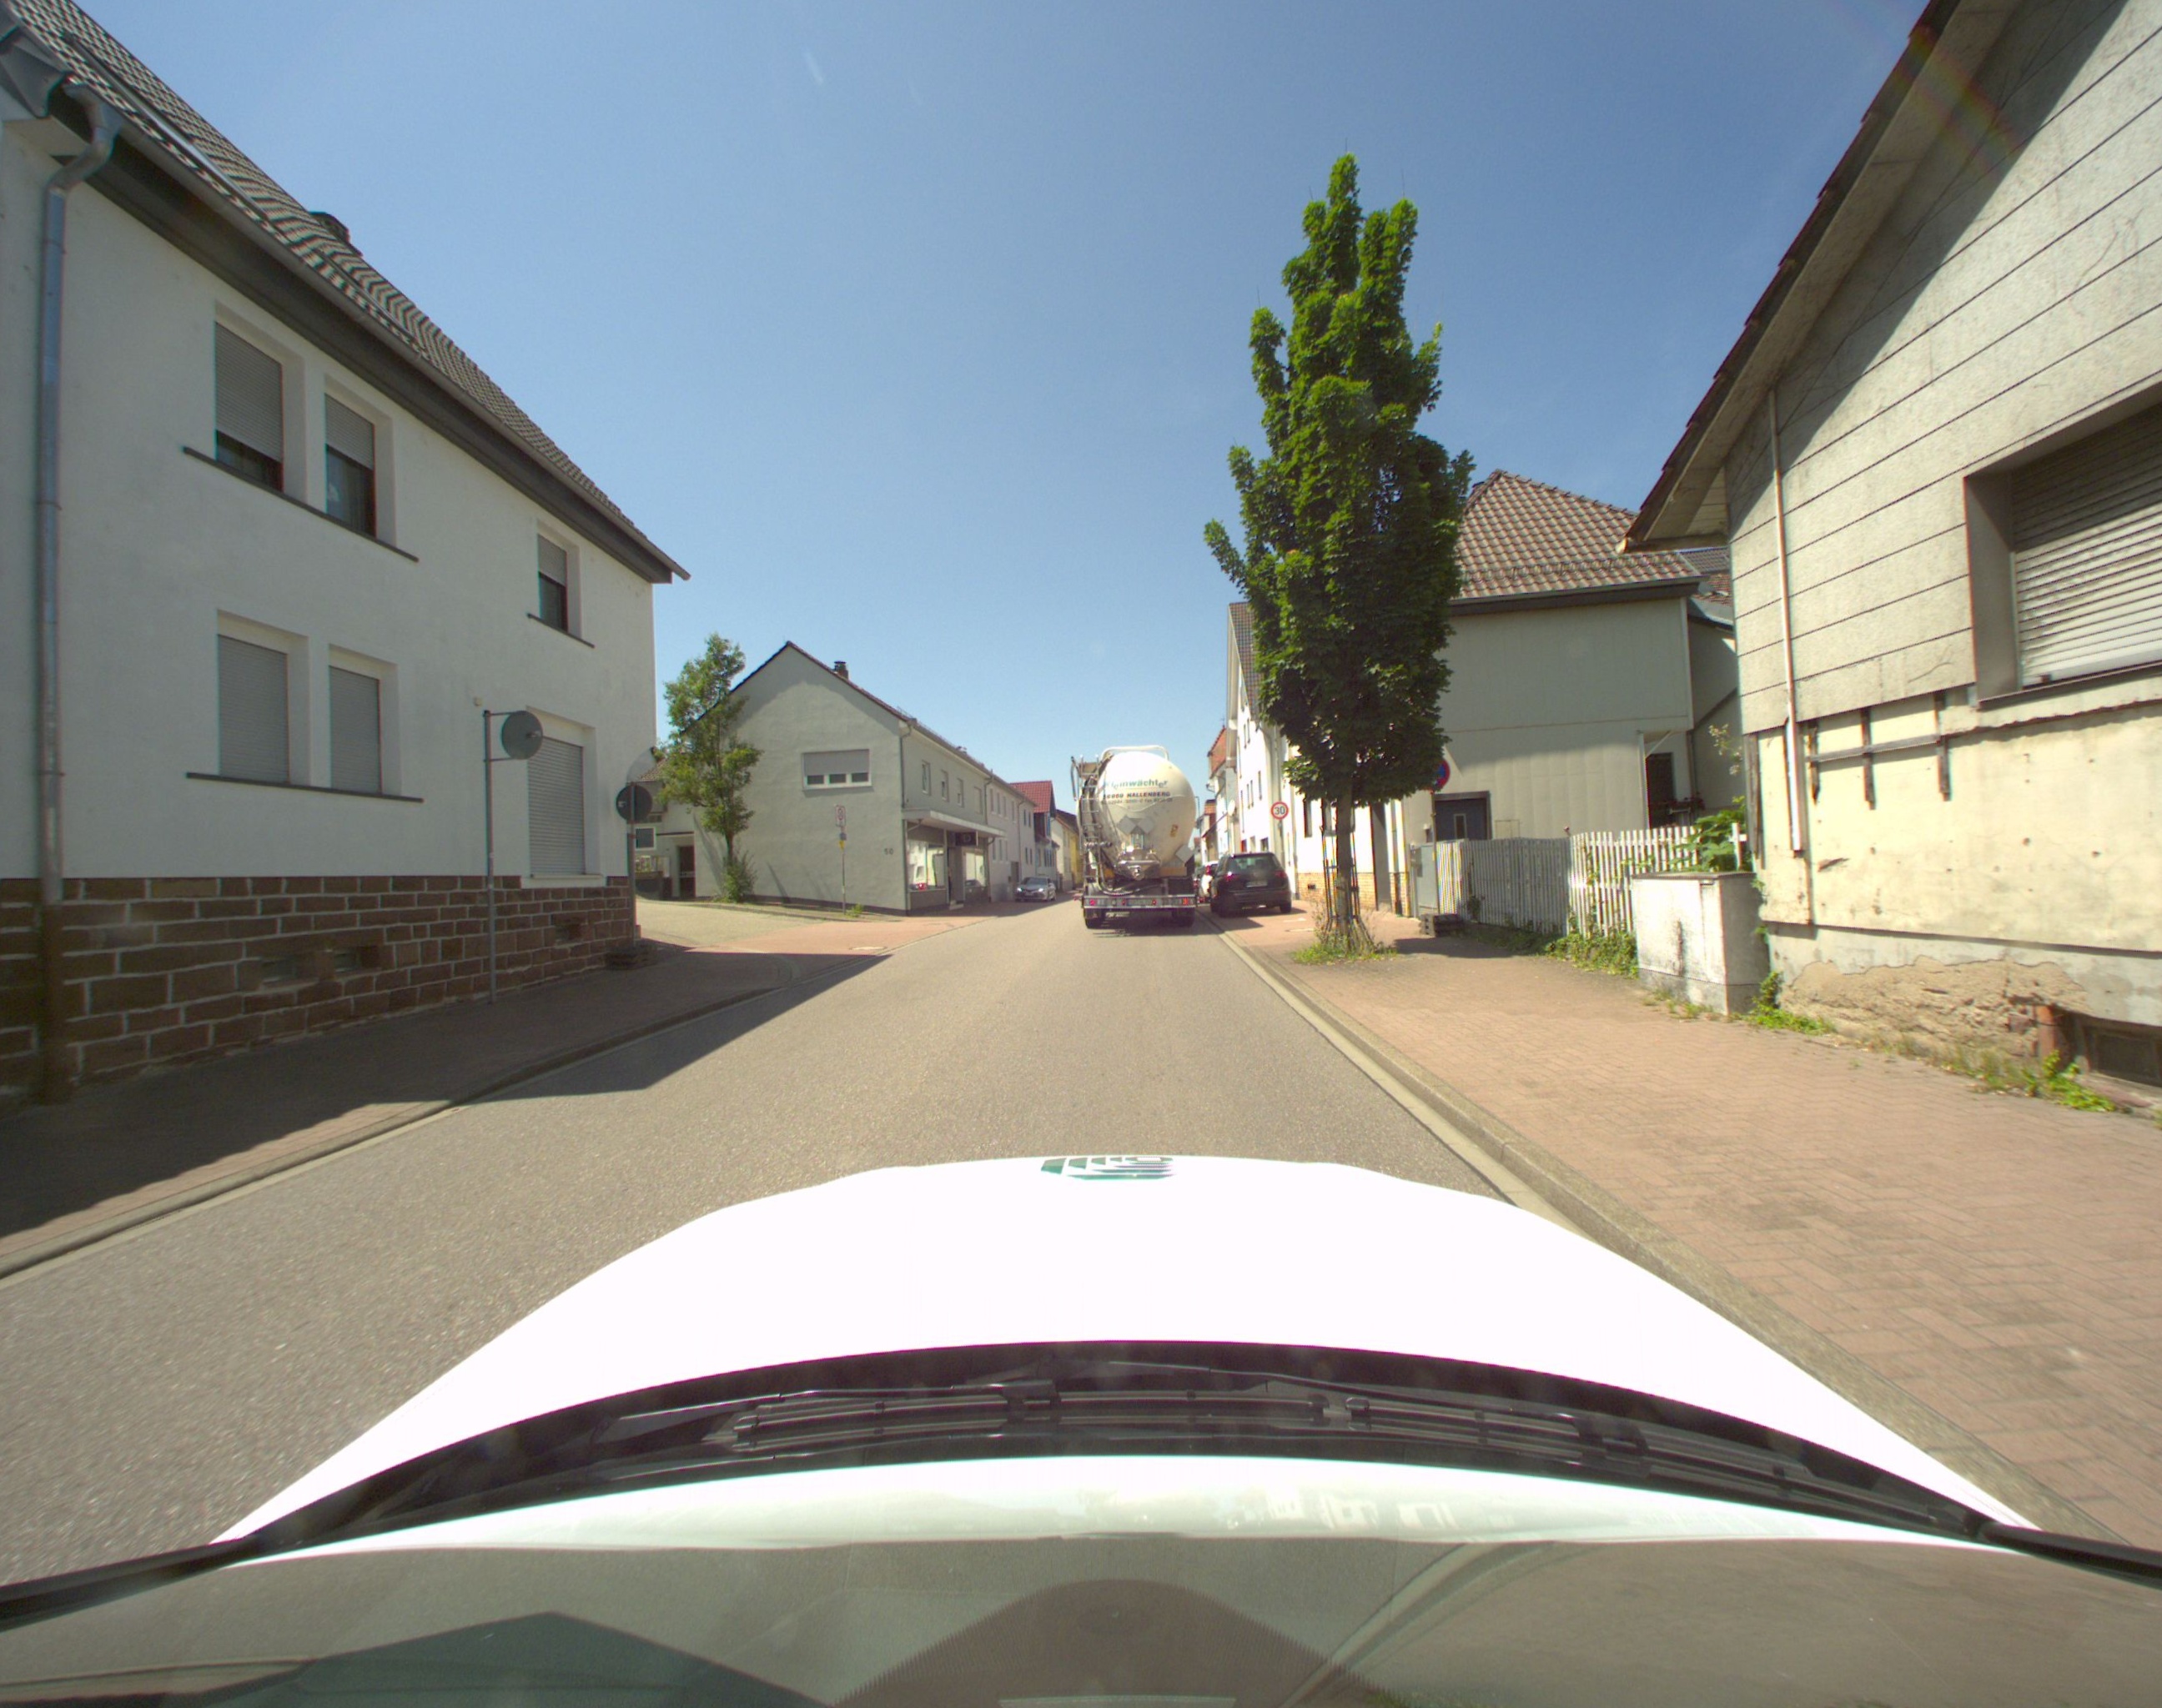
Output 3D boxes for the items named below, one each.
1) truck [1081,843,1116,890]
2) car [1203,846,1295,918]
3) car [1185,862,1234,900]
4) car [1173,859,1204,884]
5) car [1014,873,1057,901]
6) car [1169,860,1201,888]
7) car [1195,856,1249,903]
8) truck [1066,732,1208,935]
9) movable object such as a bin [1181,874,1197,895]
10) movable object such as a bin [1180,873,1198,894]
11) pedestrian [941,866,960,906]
[{"bbox_3d":[1.709,1.177,75.441,2.607,3.986,6.859,-4,-2,4],"label":"truck"},{"bbox_3d":[4.456,0.722,22.215,1.794,1.614,4.554,-5,-1,5],"label":"car"},{"bbox_3d":[5.638,1.188,36.182,1.692,1.447,4.842,-5,-2,5],"label":"car"},{"bbox_3d":[7.085,1.150,53.984,1.761,1.466,4.584,-3,-2,6],"label":"car"},{"bbox_3d":[-2.527,1.854,46.527,1.799,1.557,4.570,0,-2,5],"label":"car"},{"bbox_3d":[7.857,1.530,62.040,1.938,1.970,4.788,-3,-2,3],"label":"car"},{"bbox_3d":[5.270,0.951,30.848,1.599,1.522,3.549,-5,-2,5],"label":"car"},{"bbox_3d":[1.419,-0.295,20.141,2.720,3.960,8.150,-1,-2,4],"label":"truck"},{"bbox_3d":[5.832,1.635,43.825,0.650,1.035,0.687,-5,-2,20],"label":"movable object such as a bin"},{"bbox_3d":[5.921,1.634,44.719,0.716,1.073,0.977,-5,-2,20],"label":"movable object such as a bin"},{"bbox_3d":[-5.624,1.381,35.130,0.622,1.685,0.772,-2,-2,4],"label":"pedestrian"}]
